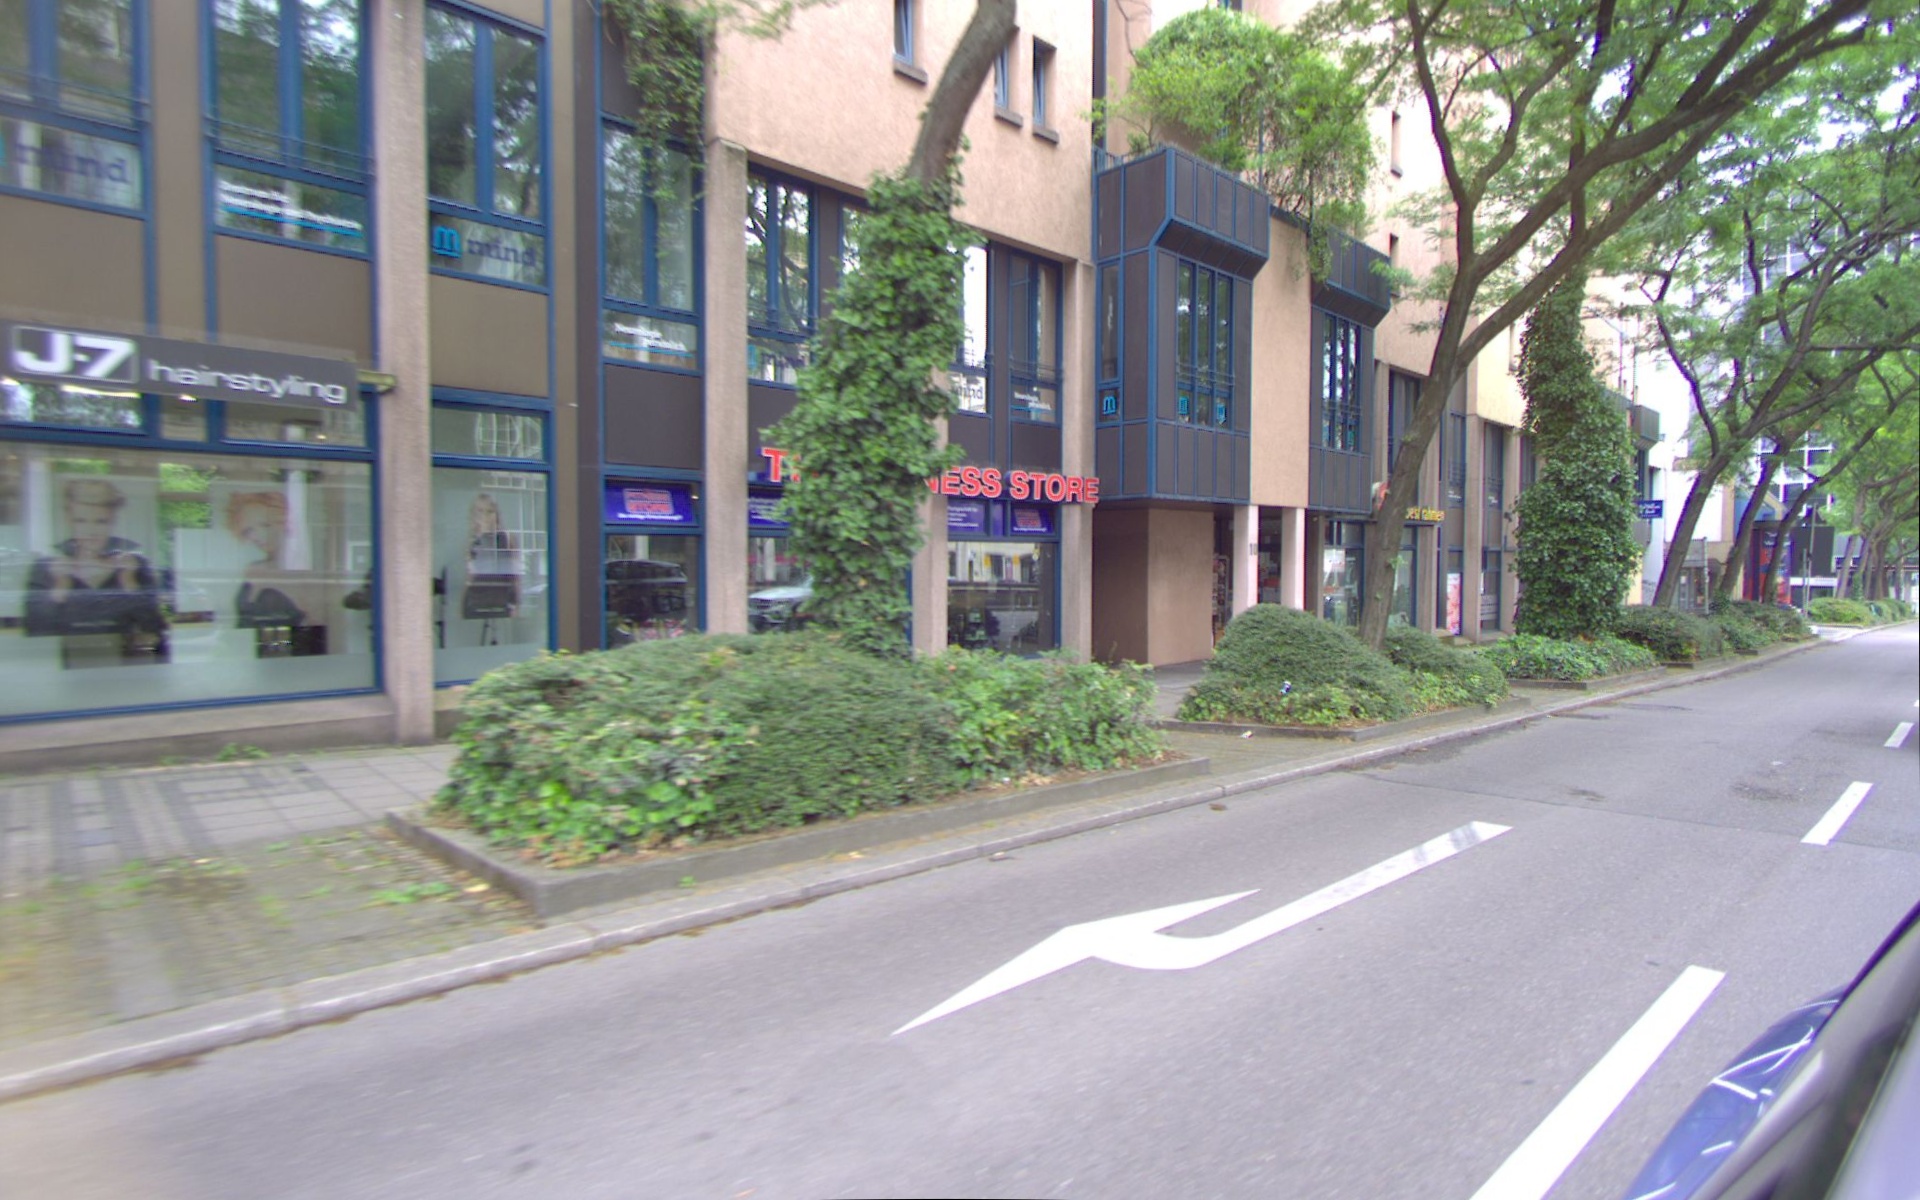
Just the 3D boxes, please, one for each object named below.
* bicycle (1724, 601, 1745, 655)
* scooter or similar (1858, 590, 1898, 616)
[{"bbox_3d":[18.314,0.644,23.920,0.361,1.216,1.548,2,1,38],"label":"bicycle"},{"bbox_3d":[51.544,0.170,56.852,1.512,1.452,0.685,0,0,17],"label":"scooter or similar"}]
